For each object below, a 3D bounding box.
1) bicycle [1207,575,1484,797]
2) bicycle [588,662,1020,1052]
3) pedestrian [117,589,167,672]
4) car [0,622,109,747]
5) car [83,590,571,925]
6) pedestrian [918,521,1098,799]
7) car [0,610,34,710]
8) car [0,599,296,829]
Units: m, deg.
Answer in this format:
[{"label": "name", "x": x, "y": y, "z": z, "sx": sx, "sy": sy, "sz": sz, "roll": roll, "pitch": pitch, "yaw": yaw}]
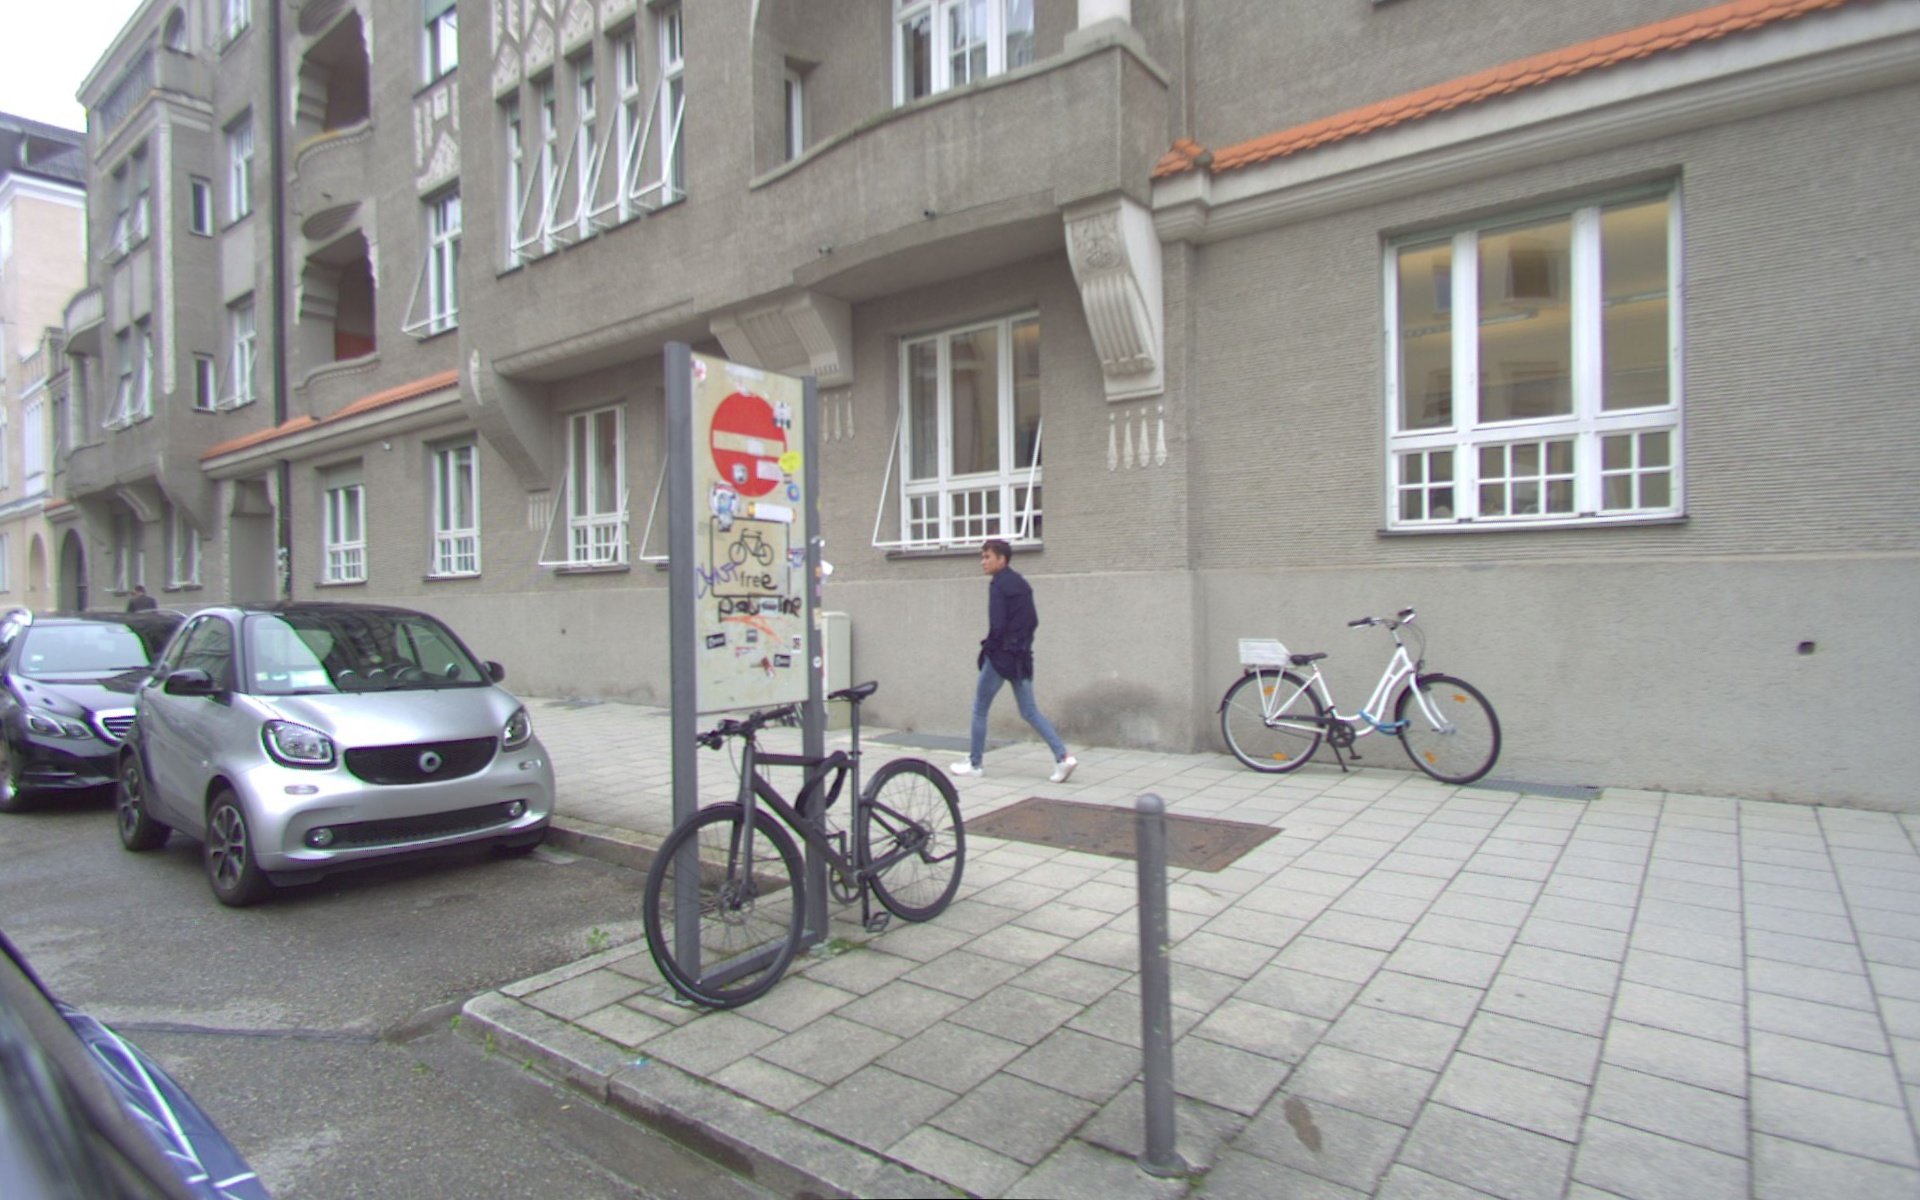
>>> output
[{"label": "bicycle", "x": 2.614, "y": 0.534, "z": 6.941, "sx": 1.670, "sy": 1.359, "sz": 0.613, "roll": -1, "pitch": 0, "yaw": 34}, {"label": "bicycle", "x": -0.487, "y": 0.832, "z": 3.942, "sx": 0.539, "sy": 1.022, "sz": 1.786, "roll": -1, "pitch": 1, "yaw": 36}, {"label": "pedestrian", "x": -18.606, "y": 0.681, "z": 23.012, "sx": 0.729, "sy": 1.831, "sz": 0.710, "roll": -1, "pitch": 0, "yaw": 37}, {"label": "car", "x": -11.983, "y": 0.954, "z": 12.327, "sx": 4.092, "sy": 1.341, "sz": 1.738, "roll": -1, "pitch": 0, "yaw": 39}, {"label": "car", "x": -3.939, "y": 0.745, "z": 6.209, "sx": 2.908, "sy": 1.526, "sz": 1.687, "roll": -1, "pitch": -1, "yaw": 39}, {"label": "pedestrian", "x": 0.342, "y": 0.384, "z": 7.178, "sx": 0.935, "sy": 1.800, "sz": 0.830, "roll": -1, "pitch": 0, "yaw": 41}, {"label": "car", "x": -16.382, "y": 0.912, "z": 15.802, "sx": 4.770, "sy": 1.459, "sz": 1.975, "roll": -1, "pitch": 0, "yaw": 37}, {"label": "car", "x": -7.717, "y": 0.796, "z": 8.944, "sx": 4.702, "sy": 1.526, "sz": 1.738, "roll": -1, "pitch": 0, "yaw": 39}]
